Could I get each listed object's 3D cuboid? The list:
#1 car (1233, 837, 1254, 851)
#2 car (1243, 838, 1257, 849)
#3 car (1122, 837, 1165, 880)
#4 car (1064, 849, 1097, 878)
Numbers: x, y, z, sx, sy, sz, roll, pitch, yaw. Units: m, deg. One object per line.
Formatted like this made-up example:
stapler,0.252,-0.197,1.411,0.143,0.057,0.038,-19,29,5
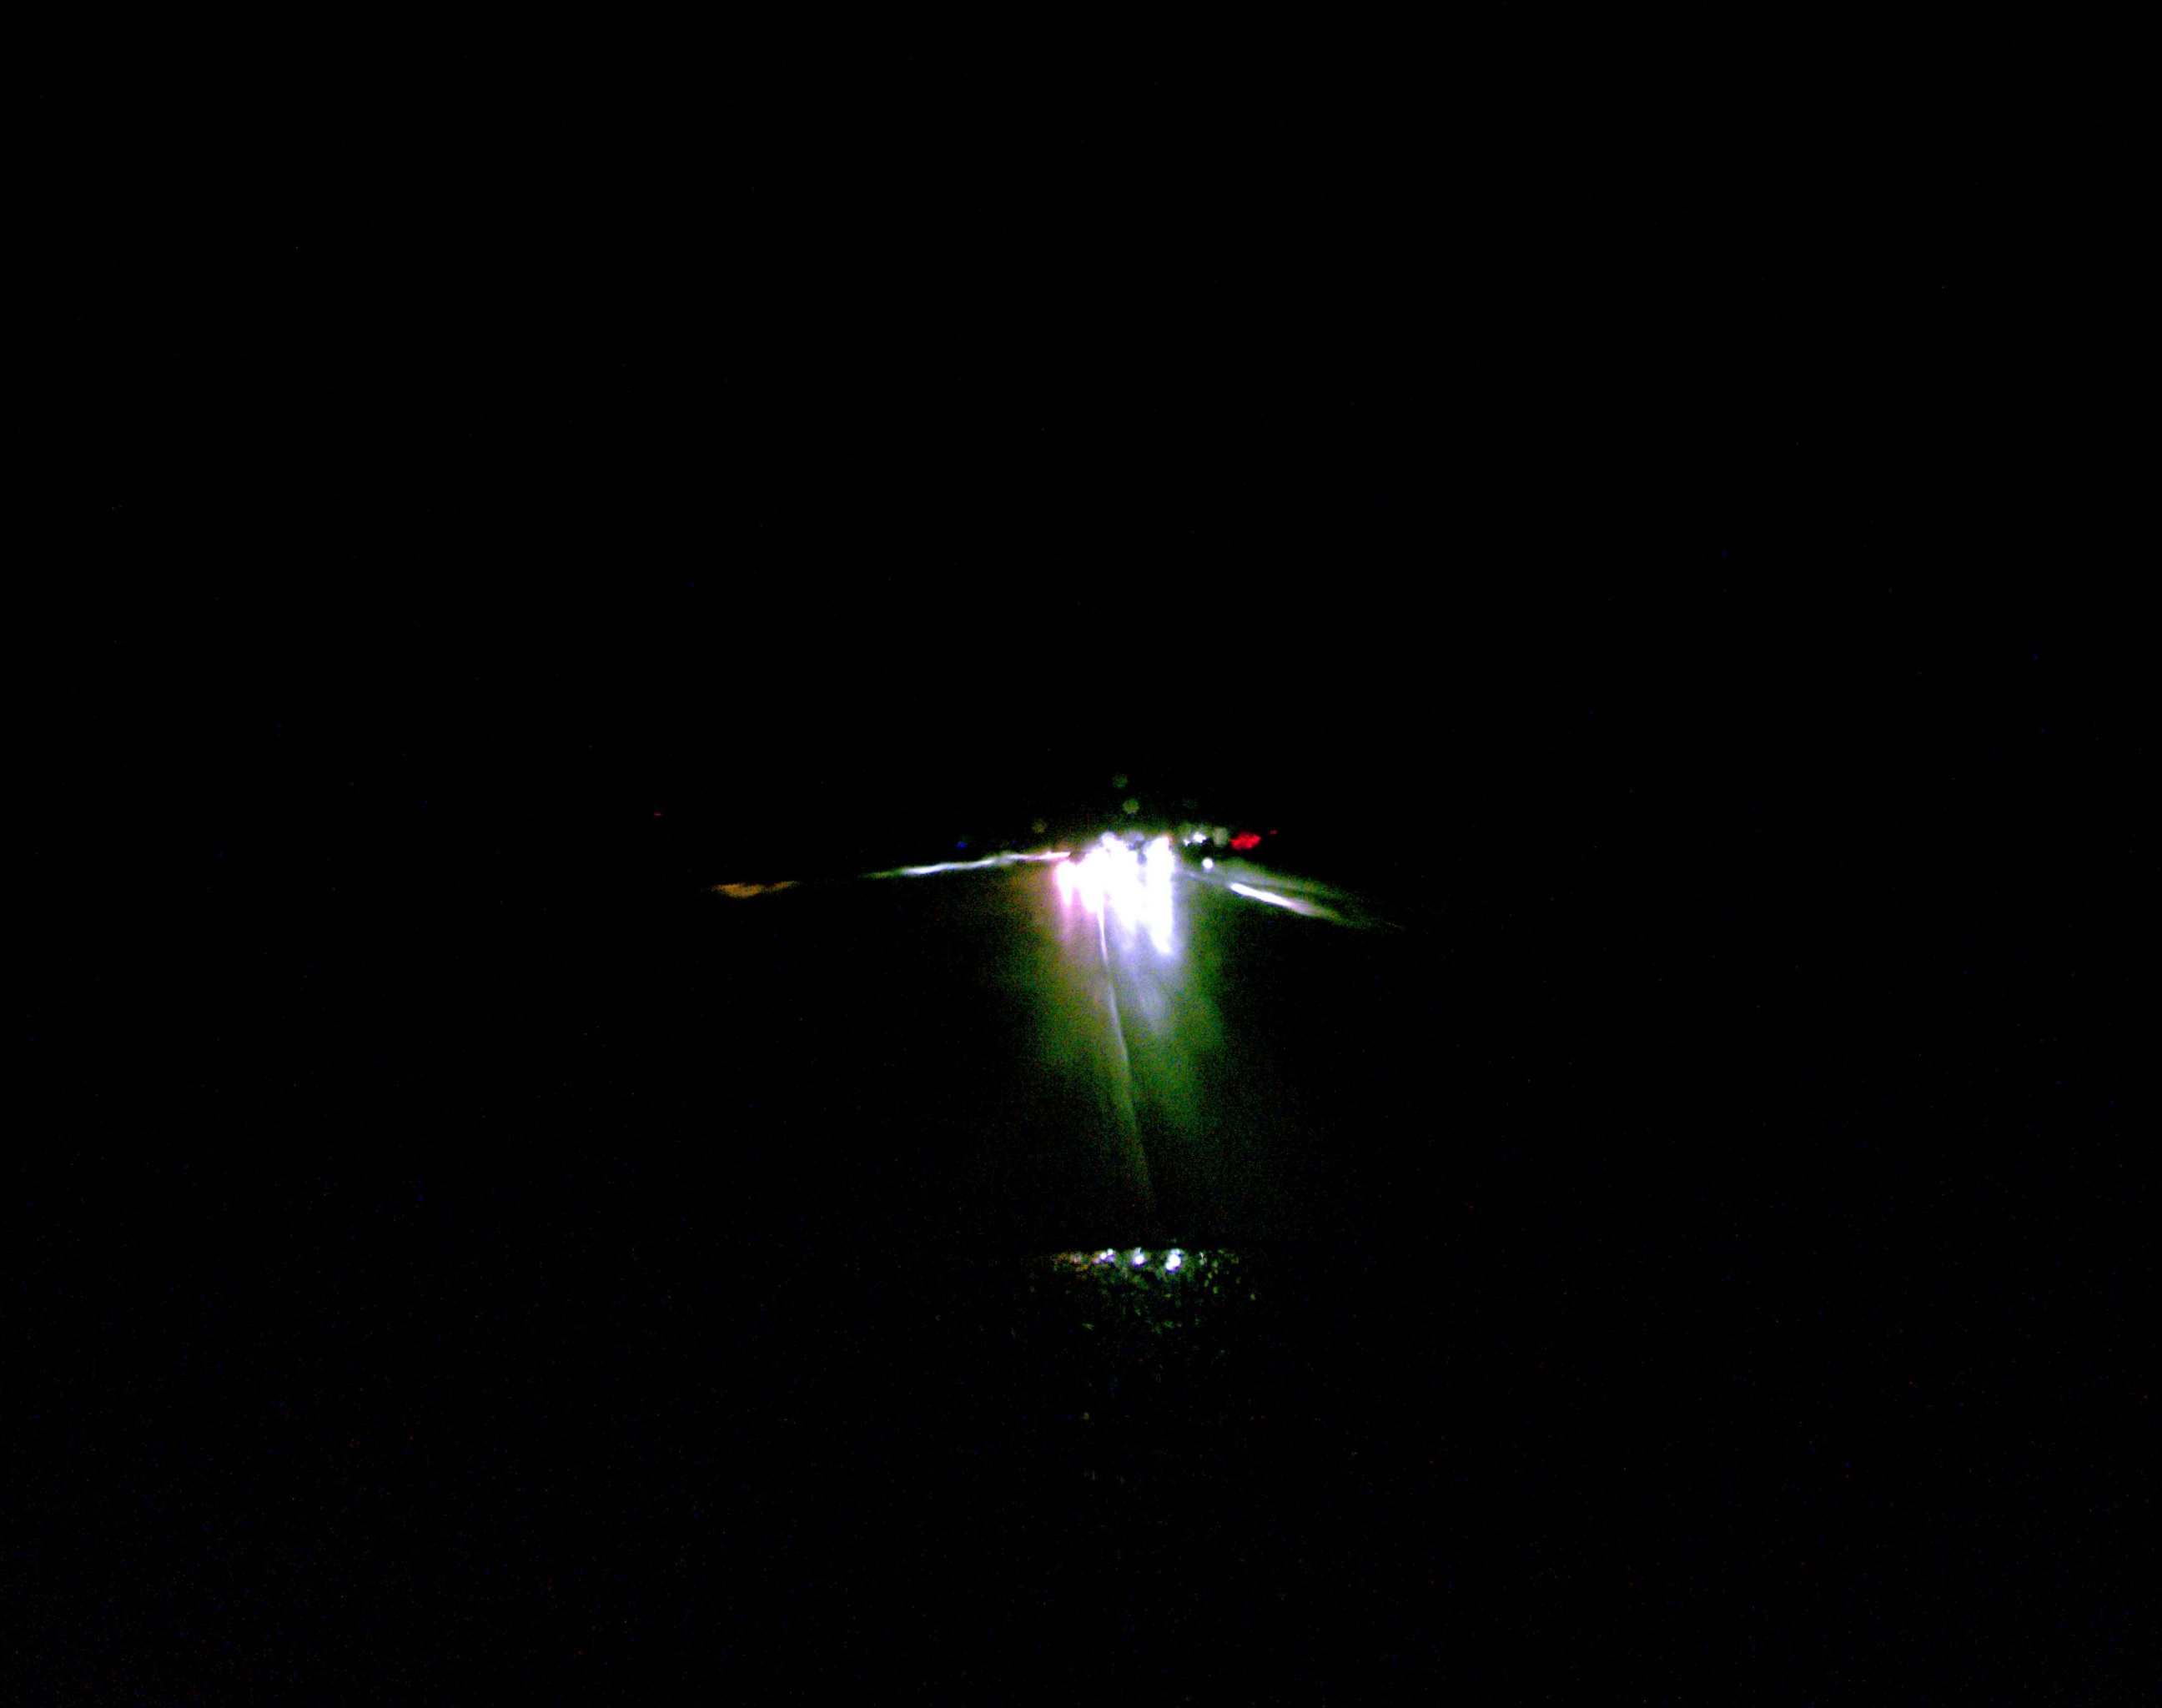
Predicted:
car,20.597,-1.296,96.537,1.998,1.470,4.002,-6,-1,4
car,29.334,-1.769,131.985,1.998,1.595,4.002,-6,-1,7
car,3.288,0.240,39.996,1.998,2.001,4.002,-4,-1,5
car,0.018,0.556,47.620,1.805,1.608,4.256,-2,1,3
